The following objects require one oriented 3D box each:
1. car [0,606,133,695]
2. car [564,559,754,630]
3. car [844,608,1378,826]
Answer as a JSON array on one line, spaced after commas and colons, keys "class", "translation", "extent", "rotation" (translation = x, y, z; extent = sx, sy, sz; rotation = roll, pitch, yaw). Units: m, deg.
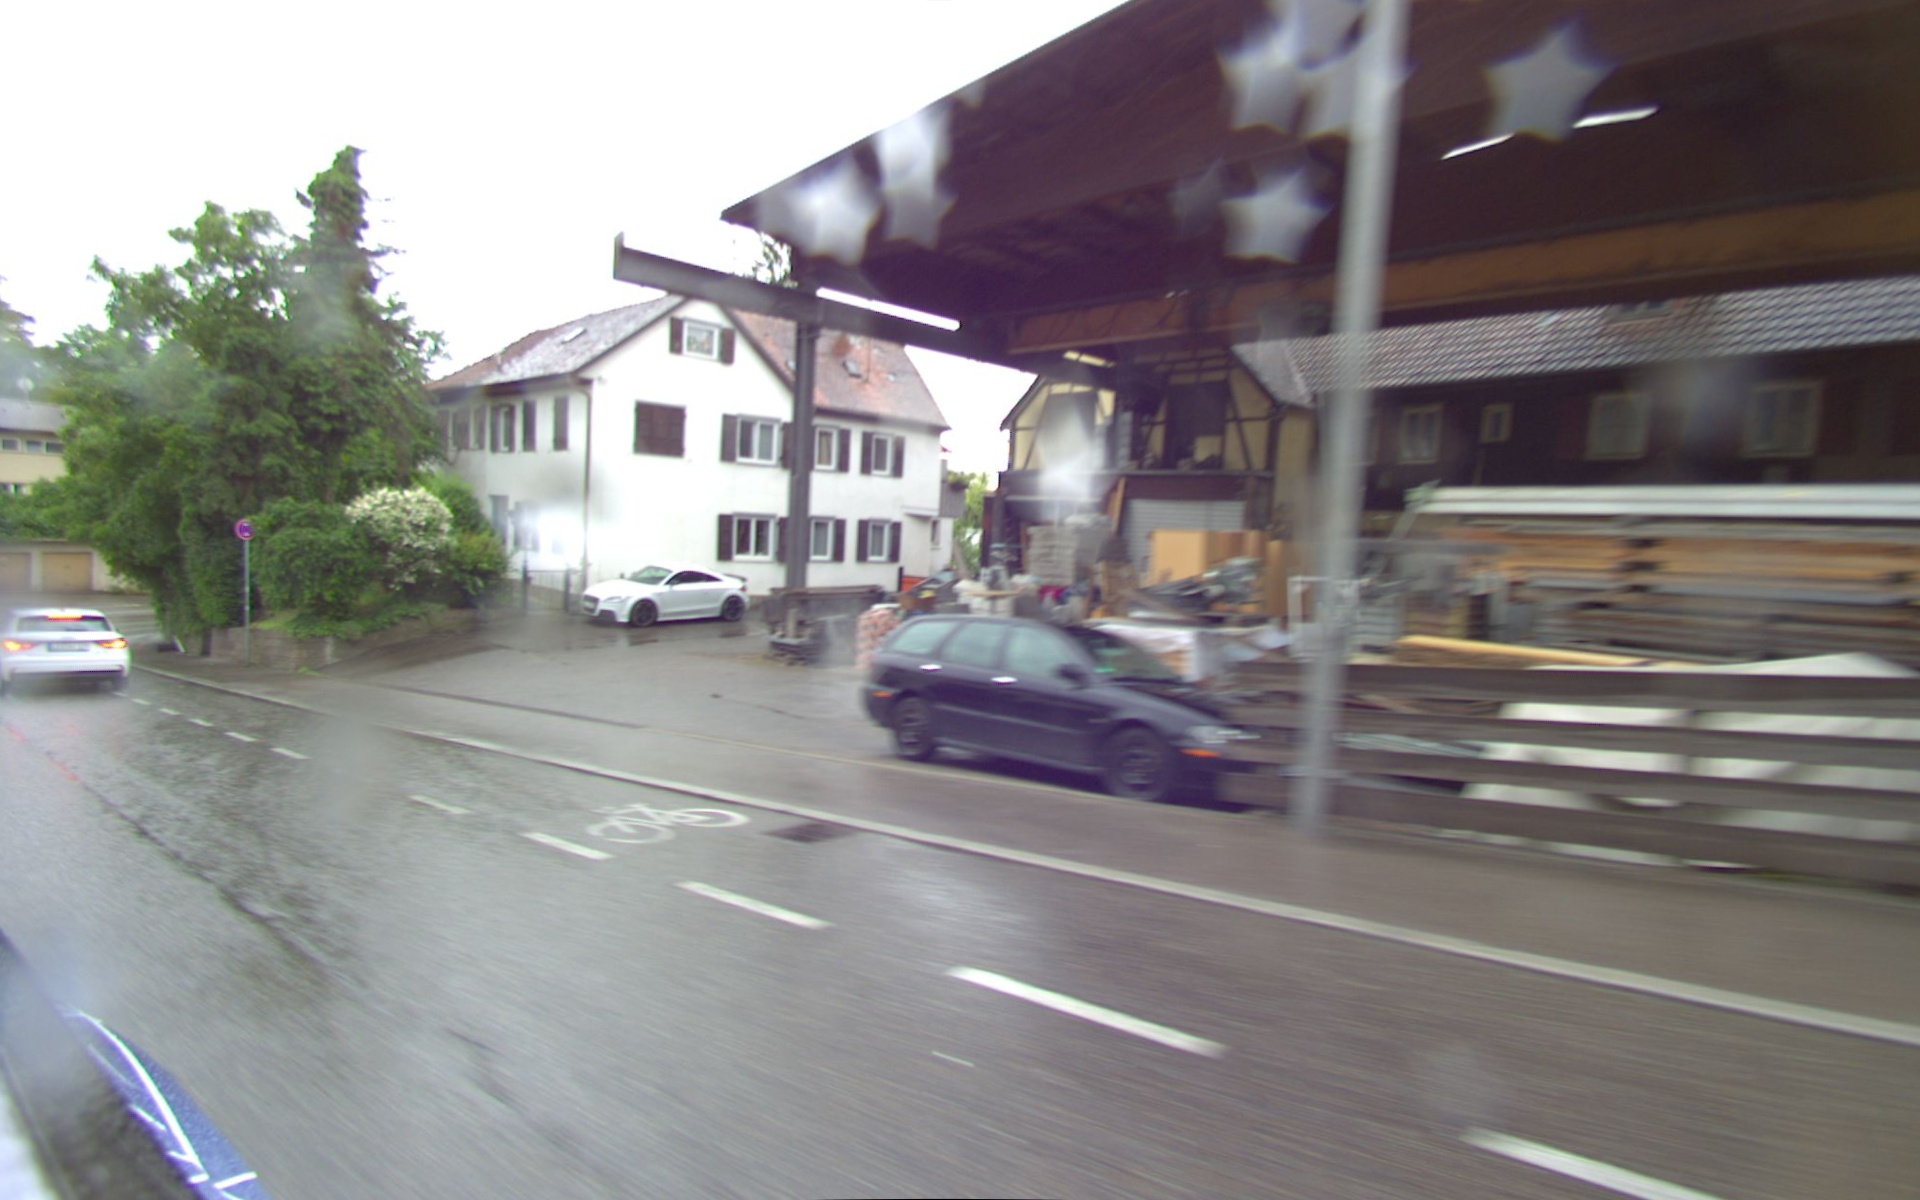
[{"class": "car", "translation": [-16.135, 0.824, 17.963], "extent": [4.050, 1.398, 1.684], "rotation": [0, -2, 43]}, {"class": "car", "translation": [-7.054, -0.137, 23.961], "extent": [1.804, 1.519, 3.943], "rotation": [3, 2, 43]}, {"class": "car", "translation": [1.114, 0.831, 8.992], "extent": [4.447, 1.452, 1.873], "rotation": [-1, -2, 44]}]
